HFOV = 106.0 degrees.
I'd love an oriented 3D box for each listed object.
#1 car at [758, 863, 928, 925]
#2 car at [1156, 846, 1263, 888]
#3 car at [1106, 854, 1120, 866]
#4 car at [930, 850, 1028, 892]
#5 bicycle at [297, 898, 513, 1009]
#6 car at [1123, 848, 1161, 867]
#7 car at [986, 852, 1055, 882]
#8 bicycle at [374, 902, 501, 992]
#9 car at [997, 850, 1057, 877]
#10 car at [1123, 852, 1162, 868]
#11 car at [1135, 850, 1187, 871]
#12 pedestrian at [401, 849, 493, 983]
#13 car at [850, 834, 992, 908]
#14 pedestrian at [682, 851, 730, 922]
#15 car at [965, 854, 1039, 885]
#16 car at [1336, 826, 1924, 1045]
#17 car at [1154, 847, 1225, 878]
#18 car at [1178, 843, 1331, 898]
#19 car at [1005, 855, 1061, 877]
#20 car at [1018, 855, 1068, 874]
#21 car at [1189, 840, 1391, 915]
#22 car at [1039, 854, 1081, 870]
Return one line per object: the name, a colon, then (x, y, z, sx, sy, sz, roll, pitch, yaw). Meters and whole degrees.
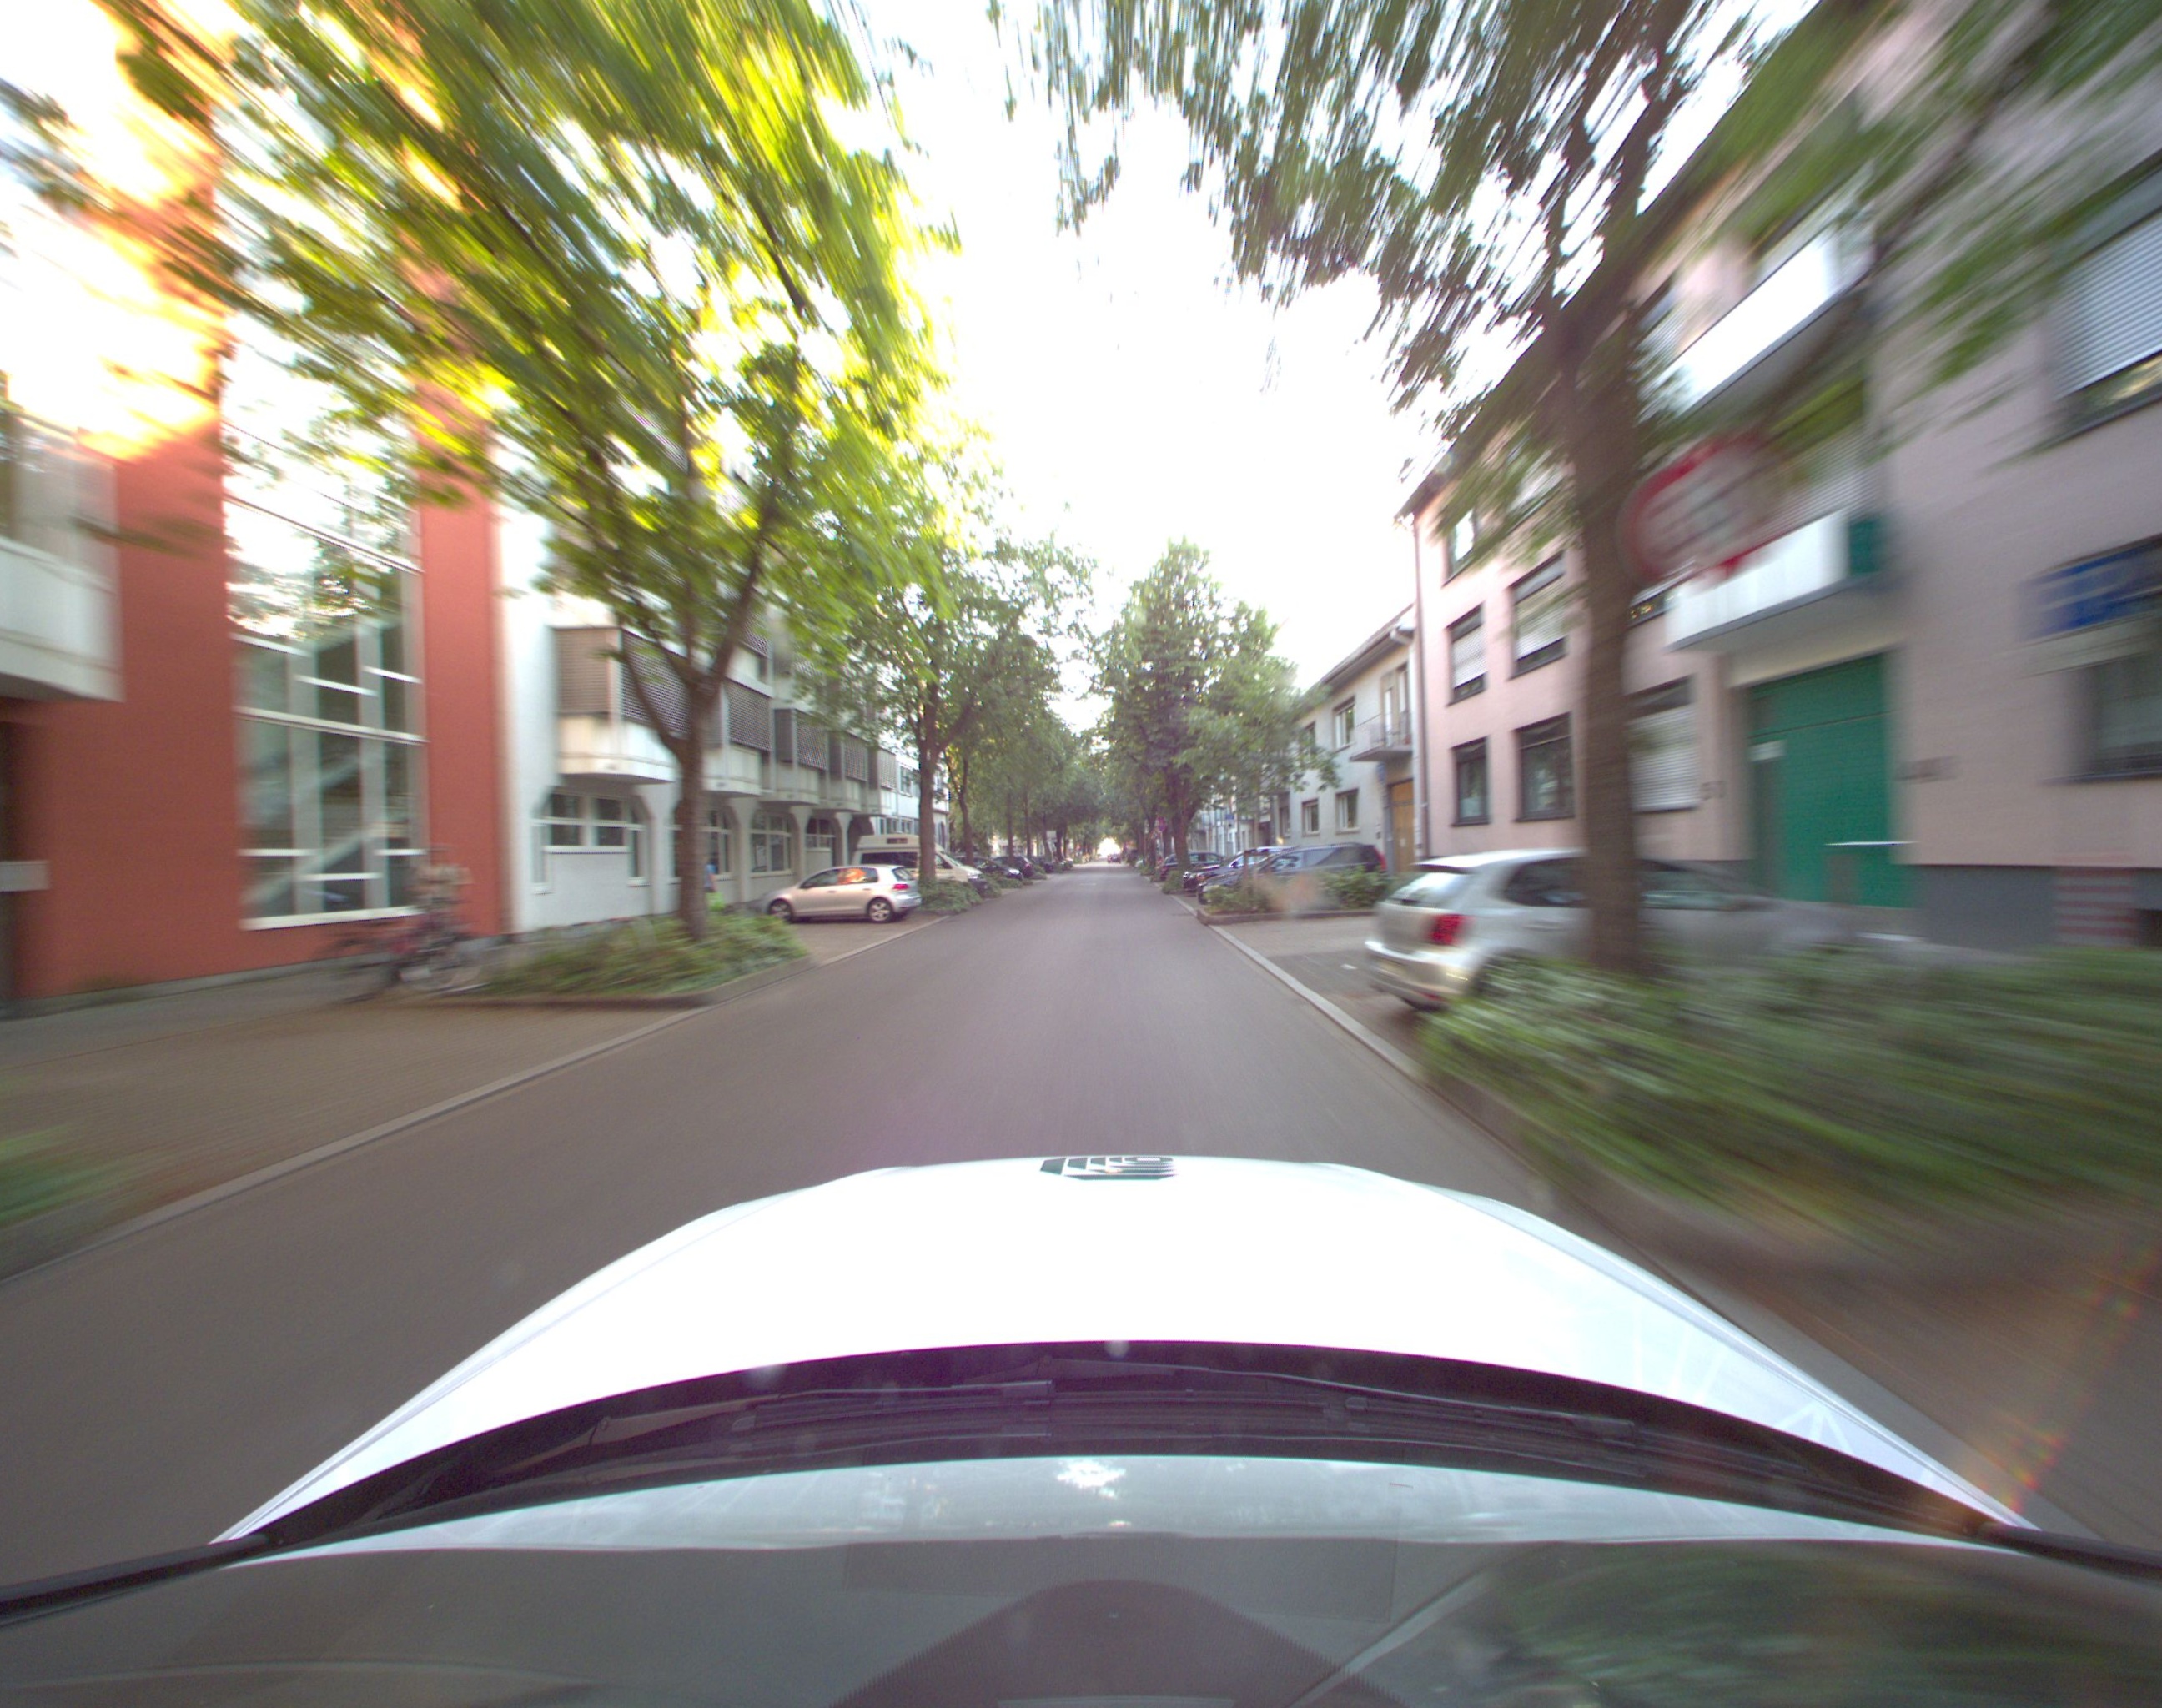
car: (-6.141, 1.008, 21.281, 3.854, 1.486, 1.759, -1, 0, 3)
car: (5.656, 0.566, 36.210, 4.486, 1.521, 1.998, -3, 0, 5)
car: (4.550, 0.906, 116.078, 1.949, 1.565, 4.285, -3, 0, 2)
car: (-5.222, 0.846, 42.051, 4.665, 1.854, 1.964, -3, 0, 1)
bicycle: (-7.596, 1.089, 9.238, 1.801, 1.107, 0.496, -1, 0, -22)
car: (7.126, 0.401, 95.163, 4.252, 1.962, 1.964, -3, 0, 2)
car: (-4.242, 0.900, 57.455, 4.578, 1.807, 1.964, -3, 0, 1)
bicycle: (-8.240, 1.152, 10.413, 1.778, 1.029, 0.503, -1, 0, 24)
car: (-4.525, 0.764, 68.926, 4.744, 1.984, 1.964, -3, 0, 1)
car: (6.949, 0.638, 92.463, 4.252, 1.565, 1.964, -3, 0, 2)
car: (6.763, 0.564, 69.339, 4.252, 1.565, 1.964, -3, 0, 2)
pedestrian: (-8.720, 0.825, 11.220, 0.697, 1.757, 0.744, -2, 0, 26)
car: (-5.732, 0.595, 29.595, 4.664, 2.478, 2.001, -1, 0, 2)
pedestrian: (-9.328, 0.792, 20.285, 0.700, 1.728, 0.905, -1, 0, 2)
car: (-4.801, 0.933, 49.770, 4.187, 1.635, 1.964, -3, 0, 2)
car: (4.468, 0.605, 7.087, 3.866, 1.439, 1.847, -3, 0, -2)
car: (6.524, 0.528, 49.309, 4.035, 1.597, 1.826, -3, 0, 2)
car: (5.716, 0.538, 27.289, 4.665, 1.521, 1.964, -3, 0, 1)
car: (-4.312, 1.061, 73.243, 4.744, 1.630, 1.964, -3, 0, 1)
car: (-3.813, 1.063, 81.692, 4.744, 1.630, 1.964, -3, 0, 1)
car: (5.192, 0.560, 20.770, 4.697, 1.710, 1.952, -1, 1, 3)
car: (-2.507, 0.920, 97.347, 4.744, 1.630, 1.964, -3, 0, 1)
